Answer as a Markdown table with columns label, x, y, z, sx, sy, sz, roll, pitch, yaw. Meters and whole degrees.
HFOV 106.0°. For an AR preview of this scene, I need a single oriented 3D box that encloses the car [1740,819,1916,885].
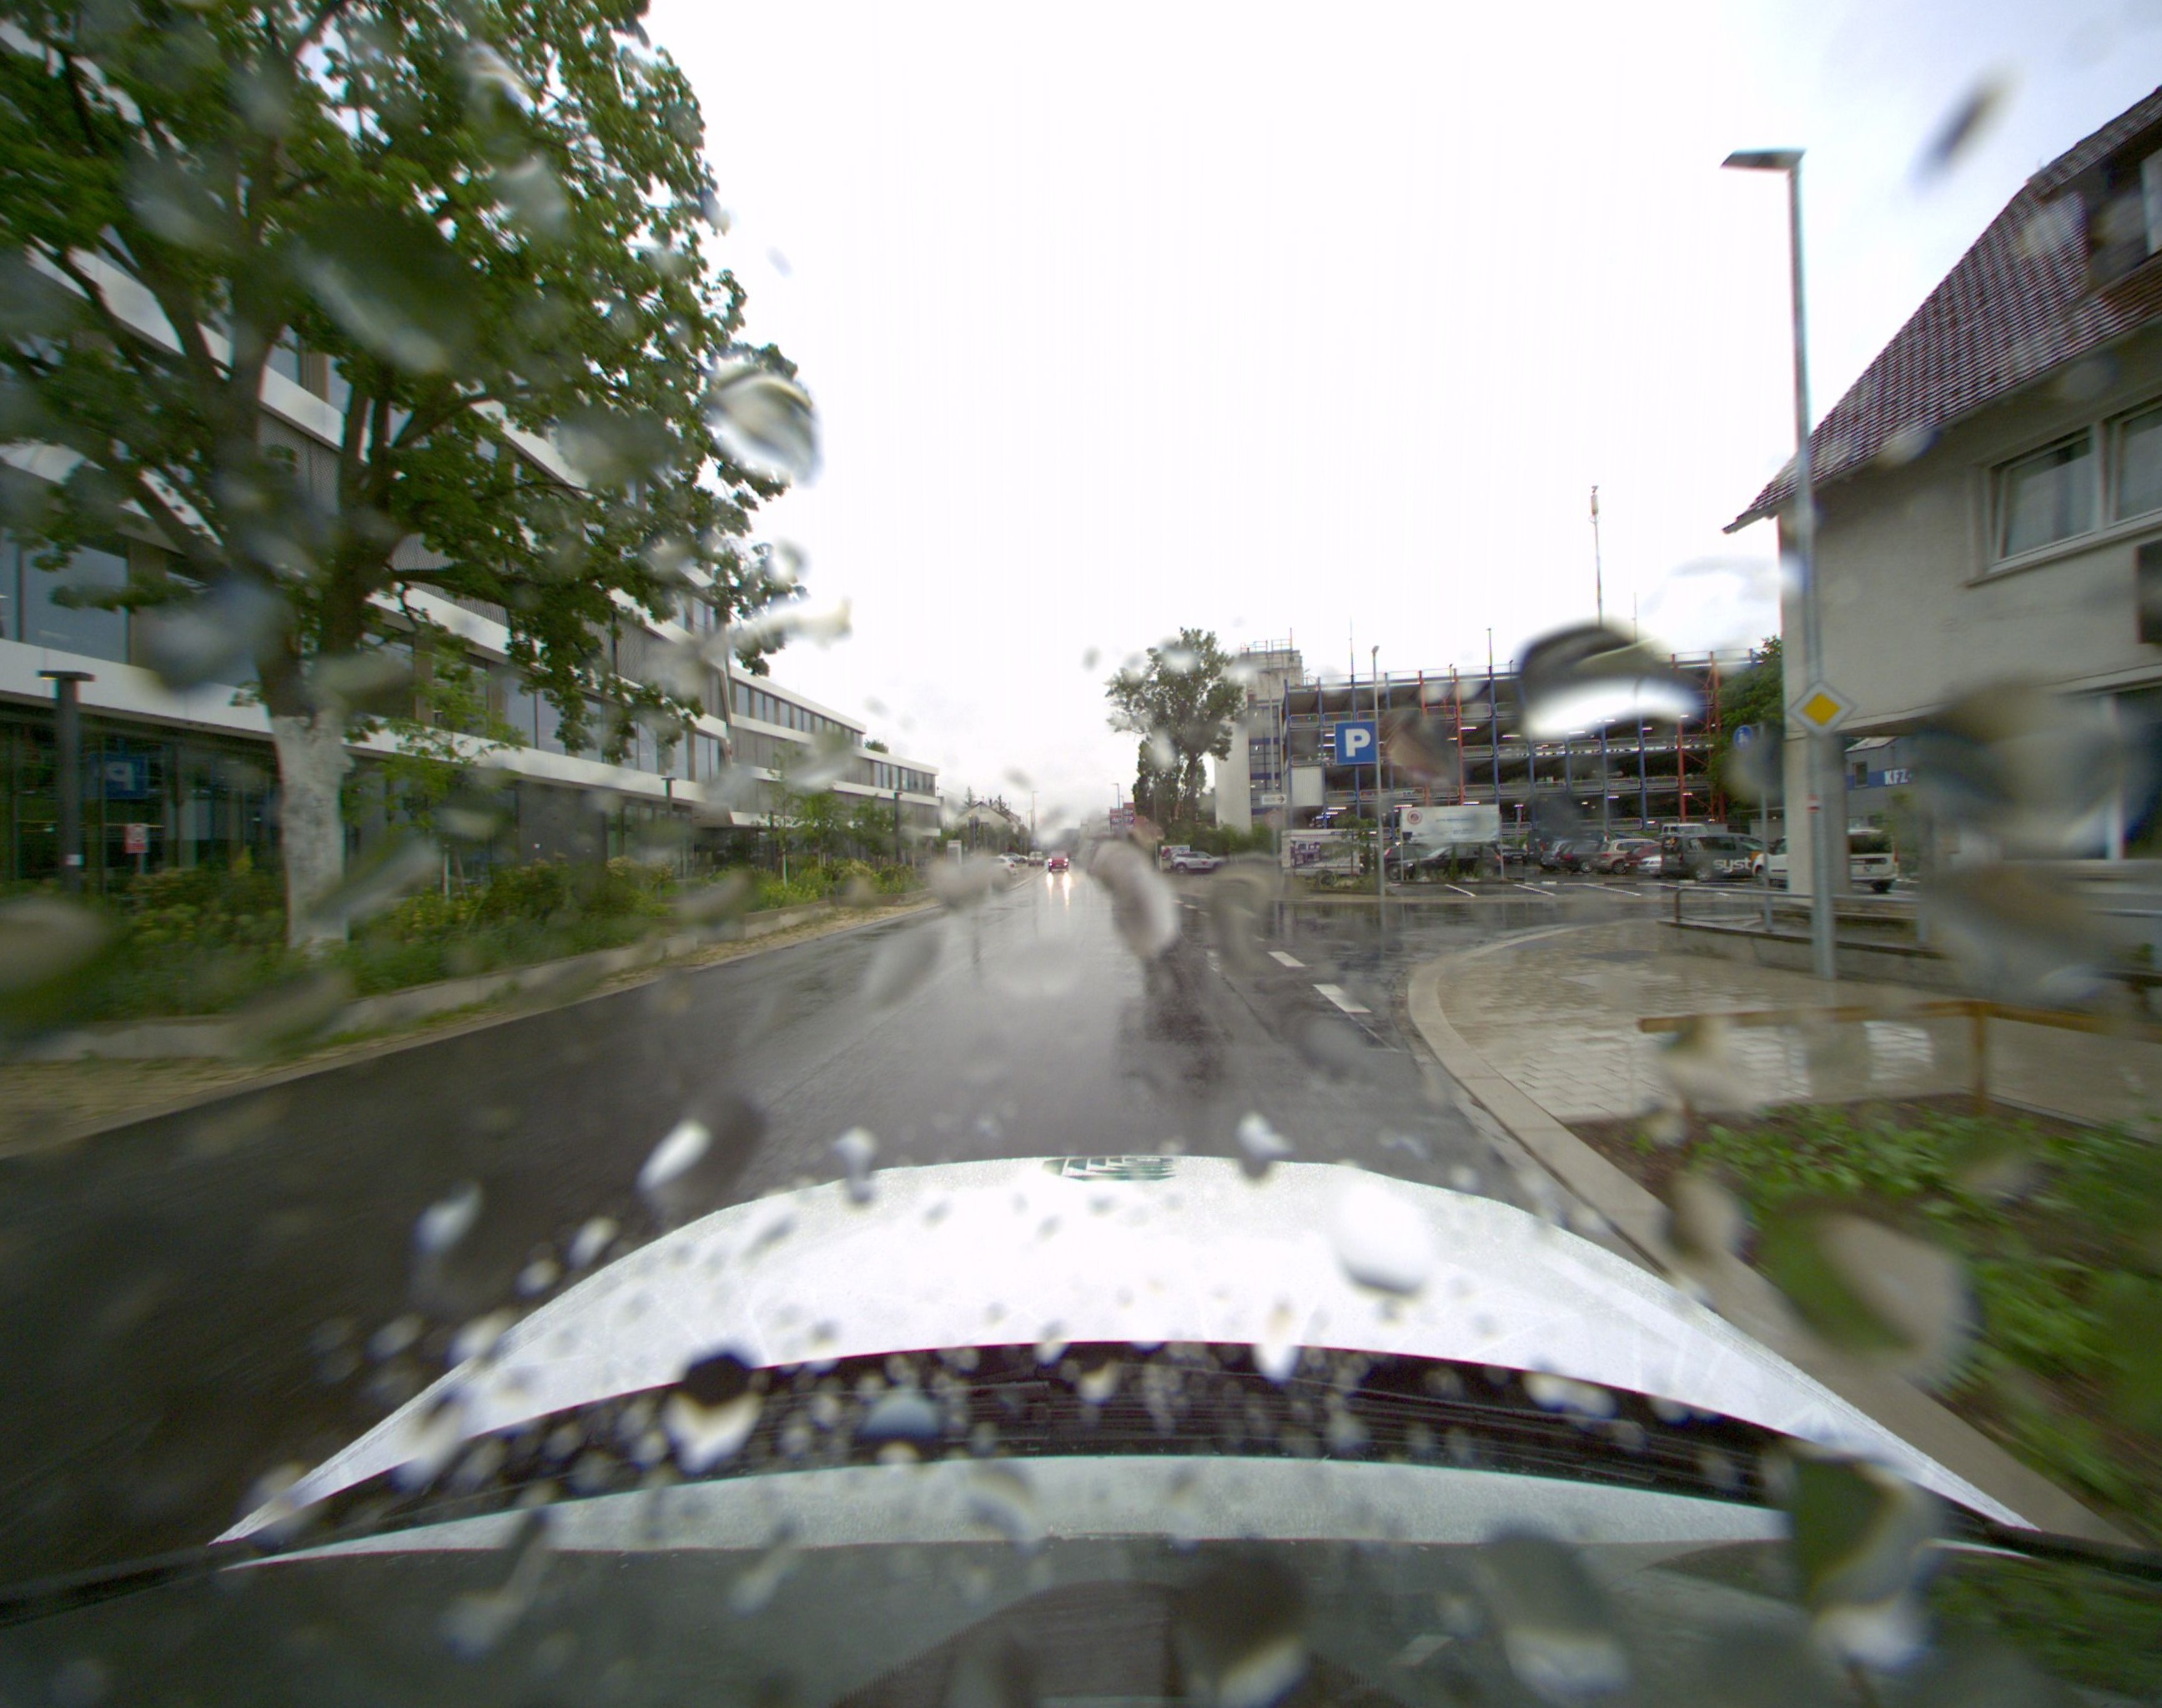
| label | x | y | z | sx | sy | sz | roll | pitch | yaw |
| --- | --- | --- | --- | --- | --- | --- | --- | --- | --- |
| car | 23.401 | -0.074 | 25.799 | 1.876 | 1.828 | 4.501 | -3 | 0 | 9 |

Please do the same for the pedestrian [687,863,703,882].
| label | x | y | z | sx | sy | sz | roll | pitch | yaw |
| --- | --- | --- | --- | --- | --- | --- | --- | --- | --- |
| pedestrian | -26.568 | 1.262 | 56.013 | 0.901 | 1.314 | 1.052 | 3 | -2 | -28 |

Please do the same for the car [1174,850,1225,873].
| label | x | y | z | sx | sy | sz | roll | pitch | yaw |
| --- | --- | --- | --- | --- | --- | --- | --- | --- | --- |
| car | 8.707 | 0.537 | 60.039 | 3.600 | 1.494 | 1.810 | -2 | 0 | 8 |

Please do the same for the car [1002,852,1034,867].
| label | x | y | z | sx | sy | sz | roll | pitch | yaw |
| --- | --- | --- | --- | --- | --- | --- | --- | --- | --- |
| car | -9.389 | 0.895 | 121.525 | 4.745 | 2.014 | 1.996 | 2 | -2 | -5 |

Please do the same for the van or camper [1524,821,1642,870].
| label | x | y | z | sx | sy | sz | roll | pitch | yaw |
| --- | --- | --- | --- | --- | --- | --- | --- | --- | --- |
| van or camper | 27.072 | -0.446 | 44.091 | 4.928 | 2.326 | 2.227 | -3 | 0 | 7 |

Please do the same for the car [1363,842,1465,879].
| label | x | y | z | sx | sy | sz | roll | pitch | yaw |
| --- | --- | --- | --- | --- | --- | --- | --- | --- | --- |
| car | 14.358 | 0.288 | 35.229 | 3.719 | 1.449 | 1.728 | -2 | 0 | -4 |

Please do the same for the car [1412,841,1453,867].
| label | x | y | z | sx | sy | sz | roll | pitch | yaw |
| --- | --- | --- | --- | --- | --- | --- | --- | --- | --- |
| car | 24.290 | -0.025 | 56.395 | 1.719 | 1.679 | 4.013 | -3 | 0 | 11 |

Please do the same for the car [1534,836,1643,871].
| label | x | y | z | sx | sy | sz | roll | pitch | yaw |
| --- | --- | --- | --- | --- | --- | --- | --- | --- | --- |
| car | 26.001 | -0.010 | 41.882 | 4.330 | 1.583 | 1.869 | -3 | 0 | 8 |

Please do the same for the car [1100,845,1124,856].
| label | x | y | z | sx | sy | sz | roll | pitch | yaw |
| --- | --- | --- | --- | --- | --- | --- | --- | --- | --- |
| car | 5.640 | -0.660 | 149.057 | 4.104 | 1.706 | 1.786 | 2 | -2 | -4 |

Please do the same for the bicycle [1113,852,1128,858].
| label | x | y | z | sx | sy | sz | roll | pitch | yaw |
| --- | --- | --- | --- | --- | --- | --- | --- | --- | --- |
| bicycle | 6.816 | 0.134 | 142.461 | 0.673 | 1.067 | 3.592 | 3 | -2 | -32 |

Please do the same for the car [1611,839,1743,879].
| label | x | y | z | sx | sy | sz | roll | pitch | yaw |
| --- | --- | --- | --- | --- | --- | --- | --- | --- | --- |
| car | 25.383 | 0.223 | 34.810 | 4.104 | 1.497 | 1.869 | -3 | 0 | 8 |

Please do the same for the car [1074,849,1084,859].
| label | x | y | z | sx | sy | sz | roll | pitch | yaw |
| --- | --- | --- | --- | --- | --- | --- | --- | --- | --- |
| car | -0.415 | -0.023 | 164.713 | 1.987 | 1.706 | 3.998 | 2 | -2 | -1 |

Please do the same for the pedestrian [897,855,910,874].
| label | x | y | z | sx | sy | sz | roll | pitch | yaw |
| --- | --- | --- | --- | --- | --- | --- | --- | --- | --- |
| pedestrian | -16.229 | 0.963 | 74.470 | 1.011 | 1.724 | 0.771 | -1 | 0 | -4 |

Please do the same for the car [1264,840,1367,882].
| label | x | y | z | sx | sy | sz | roll | pitch | yaw |
| --- | --- | --- | --- | --- | --- | --- | --- | --- | --- |
| car | 9.586 | 0.306 | 33.501 | 3.715 | 1.529 | 1.649 | -3 | -1 | -1 |

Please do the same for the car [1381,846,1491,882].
| label | x | y | z | sx | sy | sz | roll | pitch | yaw |
| --- | --- | --- | --- | --- | --- | --- | --- | --- | --- |
| car | 14.371 | 0.384 | 33.081 | 3.719 | 1.315 | 1.690 | -2 | 0 | -4 |

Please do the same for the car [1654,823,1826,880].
| label | x | y | z | sx | sy | sz | roll | pitch | yaw |
| --- | --- | --- | --- | --- | --- | --- | --- | --- | --- |
| car | 23.884 | -0.087 | 29.693 | 4.442 | 1.828 | 1.901 | -3 | 0 | 15 |

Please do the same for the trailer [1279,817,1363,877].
| label | x | y | z | sx | sy | sz | roll | pitch | yaw |
| --- | --- | --- | --- | --- | --- | --- | --- | --- | --- |
| trailer | 9.053 | -0.249 | 30.836 | 2.692 | 2.171 | 1.548 | -1 | 0 | 1 |

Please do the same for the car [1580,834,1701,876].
| label | x | y | z | sx | sy | sz | roll | pitch | yaw |
| --- | --- | --- | --- | --- | --- | --- | --- | --- | --- |
| car | 25.385 | 0.057 | 37.092 | 4.104 | 1.667 | 1.869 | -3 | 0 | 8 |

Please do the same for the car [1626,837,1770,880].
| label | x | y | z | sx | sy | sz | roll | pitch | yaw |
| --- | --- | --- | --- | --- | --- | --- | --- | --- | --- |
| car | 24.351 | 0.176 | 32.304 | 4.097 | 1.497 | 1.872 | -3 | 0 | 13 |

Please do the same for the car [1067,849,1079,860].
| label | x | y | z | sx | sy | sz | roll | pitch | yaw |
| --- | --- | --- | --- | --- | --- | --- | --- | --- | --- |
| car | -1.400 | 0.090 | 143.151 | 2.148 | 1.706 | 3.998 | 2 | -2 | -1 |

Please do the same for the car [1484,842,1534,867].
| label | x | y | z | sx | sy | sz | roll | pitch | yaw |
| --- | --- | --- | --- | --- | --- | --- | --- | --- | --- |
| car | 29.007 | 0.047 | 55.280 | 1.880 | 1.486 | 4.011 | 2 | -2 | 10 |

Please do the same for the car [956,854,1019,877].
| label | x | y | z | sx | sy | sz | roll | pitch | yaw |
| --- | --- | --- | --- | --- | --- | --- | --- | --- | --- |
| car | -6.183 | 0.762 | 54.188 | 3.915 | 1.423 | 1.898 | -1 | 0 | 0 |

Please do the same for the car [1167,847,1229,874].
| label | x | y | z | sx | sy | sz | roll | pitch | yaw |
| --- | --- | --- | --- | --- | --- | --- | --- | --- | --- |
| car | 8.240 | 0.464 | 57.406 | 4.182 | 1.650 | 2.005 | -3 | -1 | 9 |

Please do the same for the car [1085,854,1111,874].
| label | x | y | z | sx | sy | sz | roll | pitch | yaw |
| --- | --- | --- | --- | --- | --- | --- | --- | --- | --- |
| car | 1.436 | 0.873 | 70.383 | 1.944 | 1.556 | 3.995 | 2 | -2 | -3 |

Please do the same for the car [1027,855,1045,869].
| label | x | y | z | sx | sy | sz | roll | pitch | yaw |
| --- | --- | --- | --- | --- | --- | --- | --- | --- | --- |
| car | -5.447 | 0.927 | 99.108 | 1.988 | 1.629 | 4.152 | -2 | 0 | -1 |

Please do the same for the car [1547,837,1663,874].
| label | x | y | z | sx | sy | sz | roll | pitch | yaw |
| --- | --- | --- | --- | --- | --- | --- | --- | --- | --- |
| car | 25.491 | 0.064 | 39.736 | 4.330 | 1.583 | 1.869 | -3 | 0 | 8 |

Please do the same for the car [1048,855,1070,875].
| label | x | y | z | sx | sy | sz | roll | pitch | yaw |
| --- | --- | --- | --- | --- | --- | --- | --- | --- | --- |
| car | -2.136 | 1.047 | 78.246 | 1.997 | 1.818 | 4.976 | -1 | 0 | -2 |
